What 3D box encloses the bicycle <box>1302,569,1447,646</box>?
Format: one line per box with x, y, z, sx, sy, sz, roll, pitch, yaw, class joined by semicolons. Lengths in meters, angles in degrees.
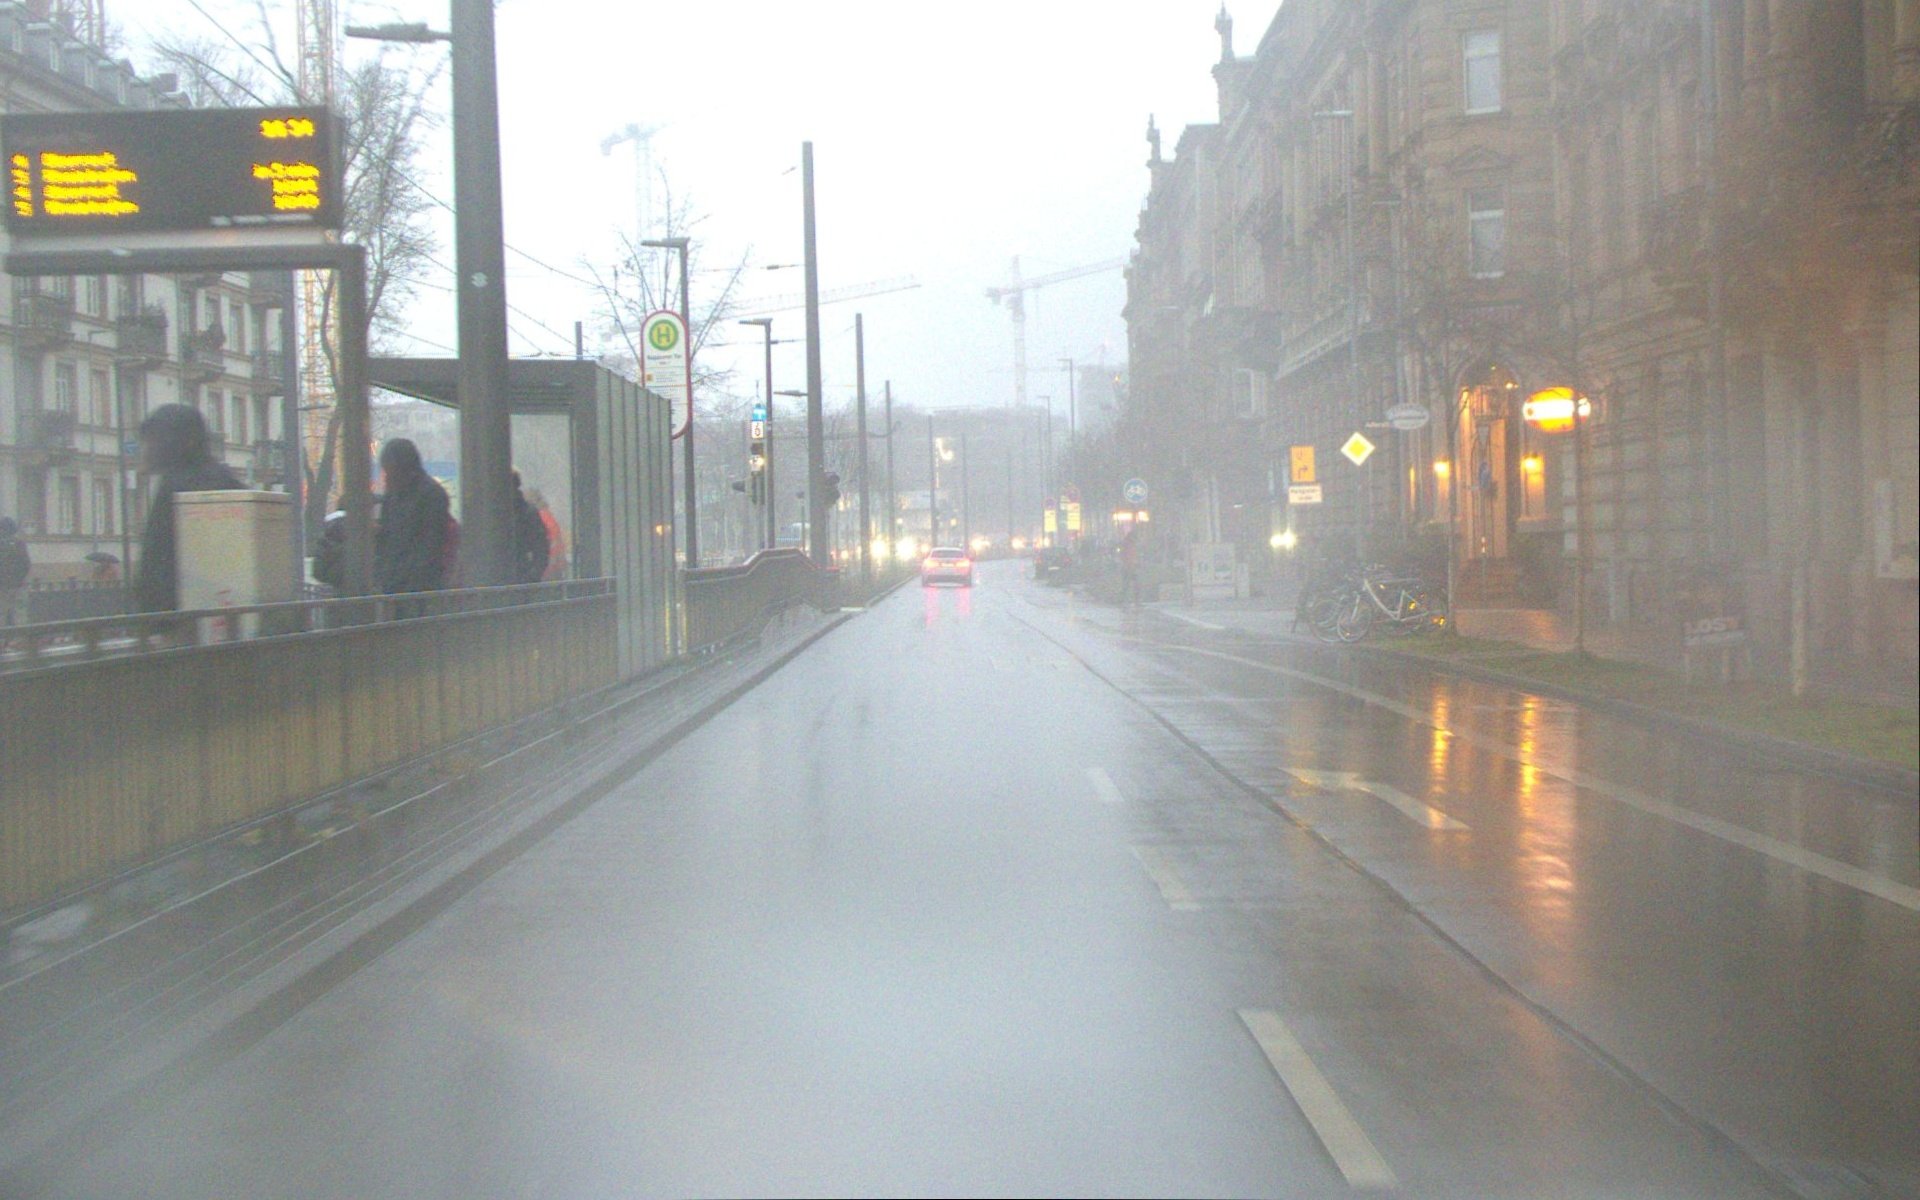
6.451;0.117;53.531;2.144;1.051;0.425;-4;2;-1;bicycle

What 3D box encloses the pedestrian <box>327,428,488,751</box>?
-3.395;-0.070;21.195;0.809;1.941;0.804;-1;1;1;pedestrian

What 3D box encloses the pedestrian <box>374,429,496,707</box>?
-4.060;-0.254;26.625;0.809;2.103;0.804;-1;1;-3;pedestrian

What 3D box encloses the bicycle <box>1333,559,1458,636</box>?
6.380;-0.038;50.382;1.729;1.051;0.371;-3;1;-1;bicycle

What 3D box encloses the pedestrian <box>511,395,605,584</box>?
-3.259;-0.893;27.833;0.679;1.511;0.619;-1;1;-12;pedestrian

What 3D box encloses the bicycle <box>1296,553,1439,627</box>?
6.412;-0.165;54.087;2.144;1.051;0.484;-3;1;-1;bicycle

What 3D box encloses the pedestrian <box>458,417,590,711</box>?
-3.186;-0.267;25.175;0.809;2.103;0.804;-1;1;1;pedestrian

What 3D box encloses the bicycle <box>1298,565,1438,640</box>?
6.565;0.037;55.370;2.144;1.051;0.425;-4;2;-1;bicycle

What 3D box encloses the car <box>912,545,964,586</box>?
-0.811;-1.306;129.203;1.784;1.462;3.148;-2;1;2;car

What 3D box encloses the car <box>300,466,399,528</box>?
-13.929;-2.348;78.591;1.681;1.349;3.546;0;1;-1;car

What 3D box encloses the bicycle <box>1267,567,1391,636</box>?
6.210;0.020;57.849;2.087;1.048;0.478;-3;1;-26;bicycle

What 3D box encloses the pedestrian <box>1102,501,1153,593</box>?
3.745;-1.185;76.787;0.916;2.007;0.855;-1;1;19;pedestrian

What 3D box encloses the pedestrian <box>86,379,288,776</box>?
-3.424;-0.108;15.193;0.776;1.698;0.773;-1;1;-18;pedestrian

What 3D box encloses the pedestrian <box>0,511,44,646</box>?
-12.689;-0.294;45.535;0.796;1.773;0.822;-1;1;-42;pedestrian

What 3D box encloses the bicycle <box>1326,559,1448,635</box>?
6.396;-0.048;51.484;1.729;1.051;0.371;-3;1;-1;bicycle

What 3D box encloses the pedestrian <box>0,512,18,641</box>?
-13.495;-0.324;47.232;0.796;1.773;0.822;-1;1;-42;pedestrian

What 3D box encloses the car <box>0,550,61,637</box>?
-15.595;-0.118;54.706;1.681;1.349;3.546;0;1;-1;car

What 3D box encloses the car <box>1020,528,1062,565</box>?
3.735;-2.475;158.510;1.799;1.598;3.770;-2;1;2;car

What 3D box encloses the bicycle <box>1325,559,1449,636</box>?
6.318;-0.043;50.884;1.729;1.051;0.371;-3;1;-1;bicycle

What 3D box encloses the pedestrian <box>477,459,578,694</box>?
-3.938;-0.219;31.338;0.809;2.103;0.804;-1;1;-3;pedestrian

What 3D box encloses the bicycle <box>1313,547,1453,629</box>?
6.434;-0.186;52.316;2.008;1.091;0.425;-4;1;-1;bicycle
